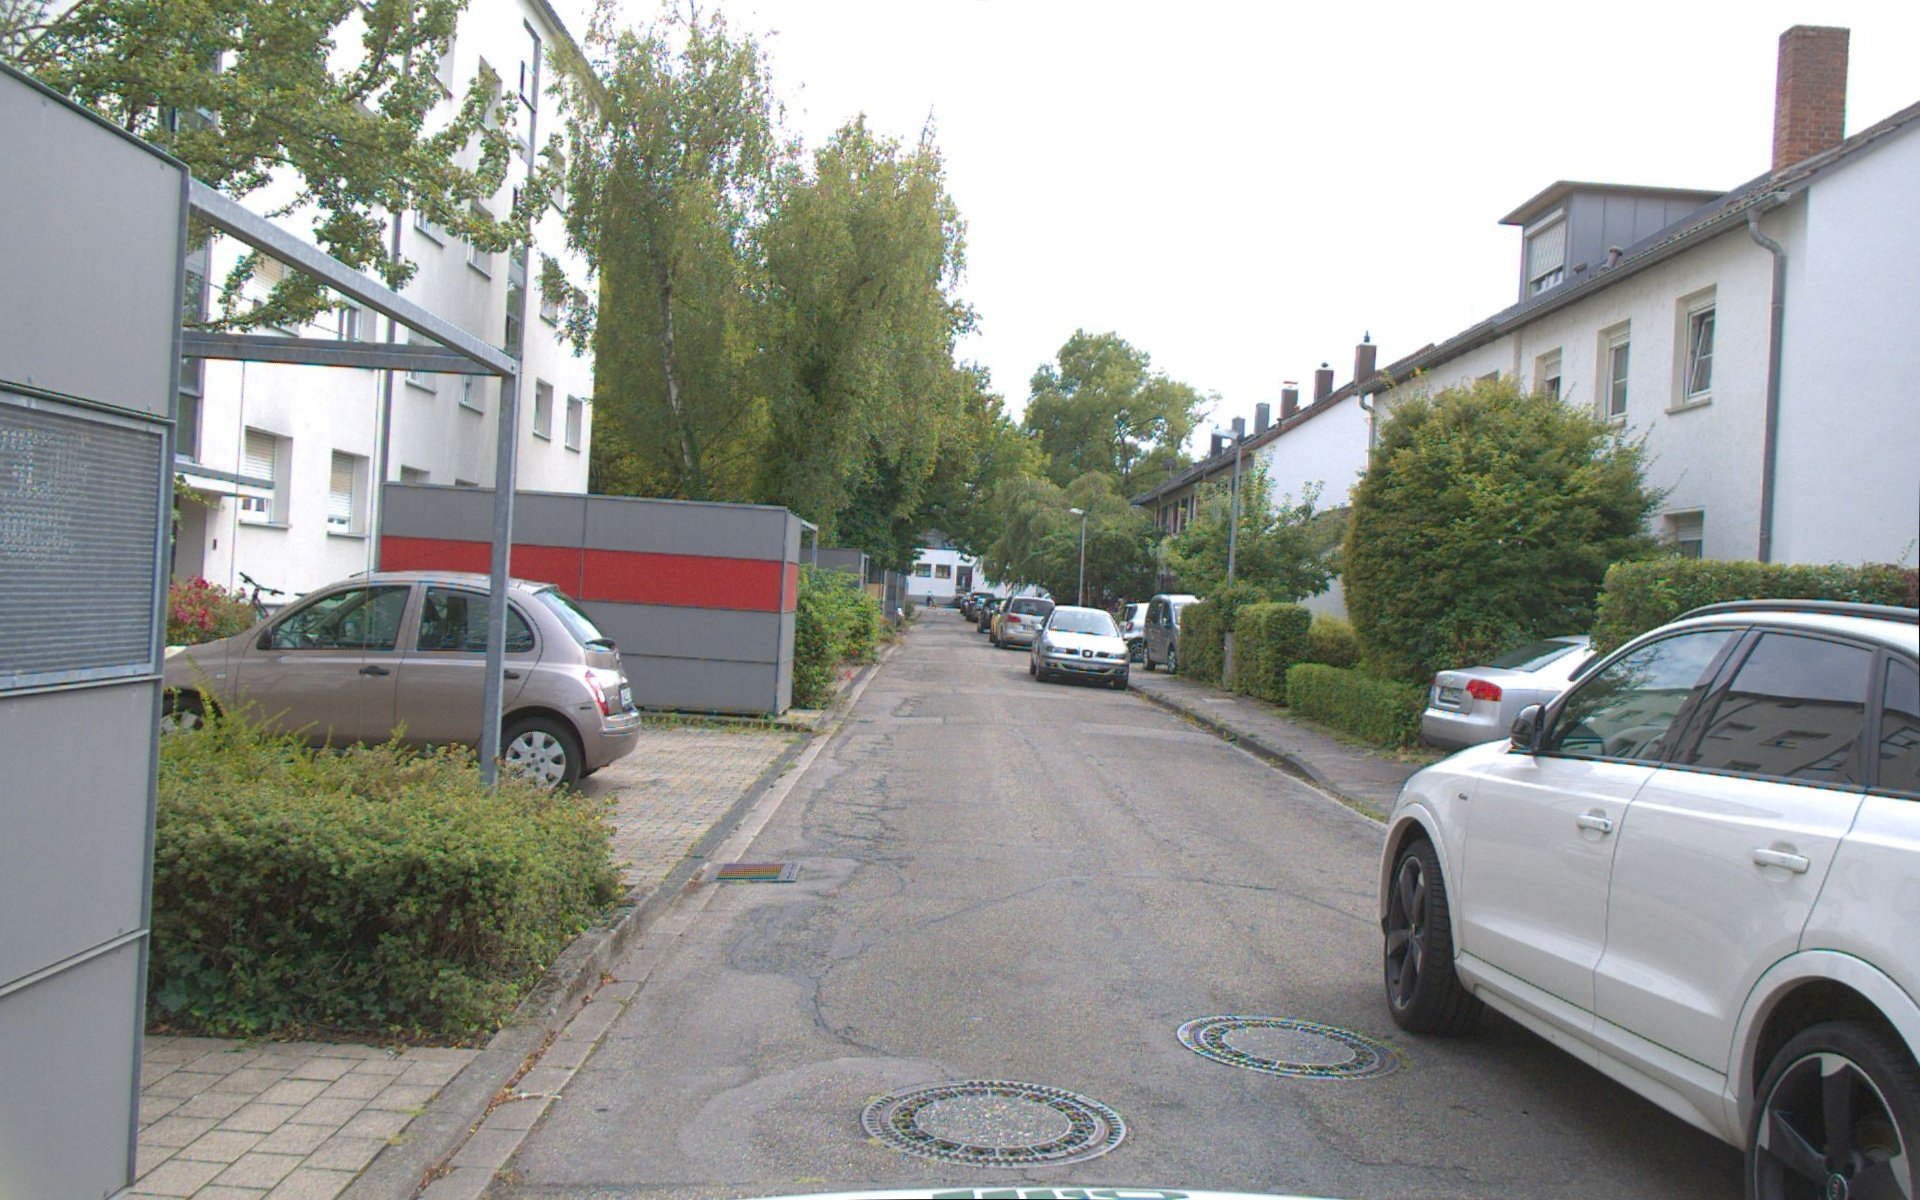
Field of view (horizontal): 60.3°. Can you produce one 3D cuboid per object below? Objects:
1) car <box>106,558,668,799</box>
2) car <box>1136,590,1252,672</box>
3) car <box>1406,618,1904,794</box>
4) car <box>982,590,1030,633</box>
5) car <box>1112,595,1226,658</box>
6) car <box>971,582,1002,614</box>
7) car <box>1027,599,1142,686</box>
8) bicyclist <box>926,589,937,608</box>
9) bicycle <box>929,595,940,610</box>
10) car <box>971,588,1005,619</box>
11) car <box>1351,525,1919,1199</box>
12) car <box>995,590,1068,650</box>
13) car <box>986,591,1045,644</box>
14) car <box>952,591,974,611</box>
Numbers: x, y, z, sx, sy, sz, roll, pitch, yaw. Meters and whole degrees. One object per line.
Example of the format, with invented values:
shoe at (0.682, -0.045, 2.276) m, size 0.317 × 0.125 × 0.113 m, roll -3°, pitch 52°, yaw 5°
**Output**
car at (-4.006, 0.536, 12.063) m, size 3.492 × 1.506 × 1.709 m, roll 2°, pitch 0°, yaw -5°
car at (5.423, 0.696, 38.823) m, size 1.789 × 1.808 × 4.337 m, roll 1°, pitch 0°, yaw -4°
car at (6.475, 0.969, 15.655) m, size 3.943 × 1.452 × 1.851 m, roll 2°, pitch 0°, yaw -7°
car at (1.948, 0.453, 70.607) m, size 1.788 × 1.608 × 4.192 m, roll 5°, pitch 0°, yaw 0°
car at (5.591, 0.692, 44.428) m, size 2.760 × 1.596 × 1.740 m, roll 1°, pitch 0°, yaw -3°
car at (1.713, -0.127, 107.639) m, size 1.788 × 1.915 × 4.000 m, roll 5°, pitch 0°, yaw 0°
car at (2.333, 0.773, 32.083) m, size 1.788 × 1.394 × 4.330 m, roll 5°, pitch 0°, yaw 0°
bicyclist at (-2.338, -0.120, 135.969) m, size 0.782 × 1.537 × 0.934 m, roll 5°, pitch 0°, yaw 1°
bicycle at (-2.108, 0.221, 135.924) m, size 0.675 × 1.151 × 2.579 m, roll 5°, pitch 0°, yaw 2°
car at (1.616, 0.207, 96.014) m, size 1.788 × 1.608 × 4.000 m, roll 5°, pitch 0°, yaw 0°
car at (2.650, 0.750, 4.648) m, size 1.789 × 1.664 × 4.159 m, roll 5°, pitch 0°, yaw -3°
car at (2.145, 0.575, 50.666) m, size 1.789 × 1.608 × 3.999 m, roll 5°, pitch 0°, yaw -2°
car at (1.891, 0.581, 57.211) m, size 1.788 × 1.608 × 4.000 m, roll 5°, pitch 0°, yaw 0°
car at (0.283, 0.070, 148.466) m, size 1.788 × 1.608 × 4.000 m, roll 5°, pitch 0°, yaw 0°
